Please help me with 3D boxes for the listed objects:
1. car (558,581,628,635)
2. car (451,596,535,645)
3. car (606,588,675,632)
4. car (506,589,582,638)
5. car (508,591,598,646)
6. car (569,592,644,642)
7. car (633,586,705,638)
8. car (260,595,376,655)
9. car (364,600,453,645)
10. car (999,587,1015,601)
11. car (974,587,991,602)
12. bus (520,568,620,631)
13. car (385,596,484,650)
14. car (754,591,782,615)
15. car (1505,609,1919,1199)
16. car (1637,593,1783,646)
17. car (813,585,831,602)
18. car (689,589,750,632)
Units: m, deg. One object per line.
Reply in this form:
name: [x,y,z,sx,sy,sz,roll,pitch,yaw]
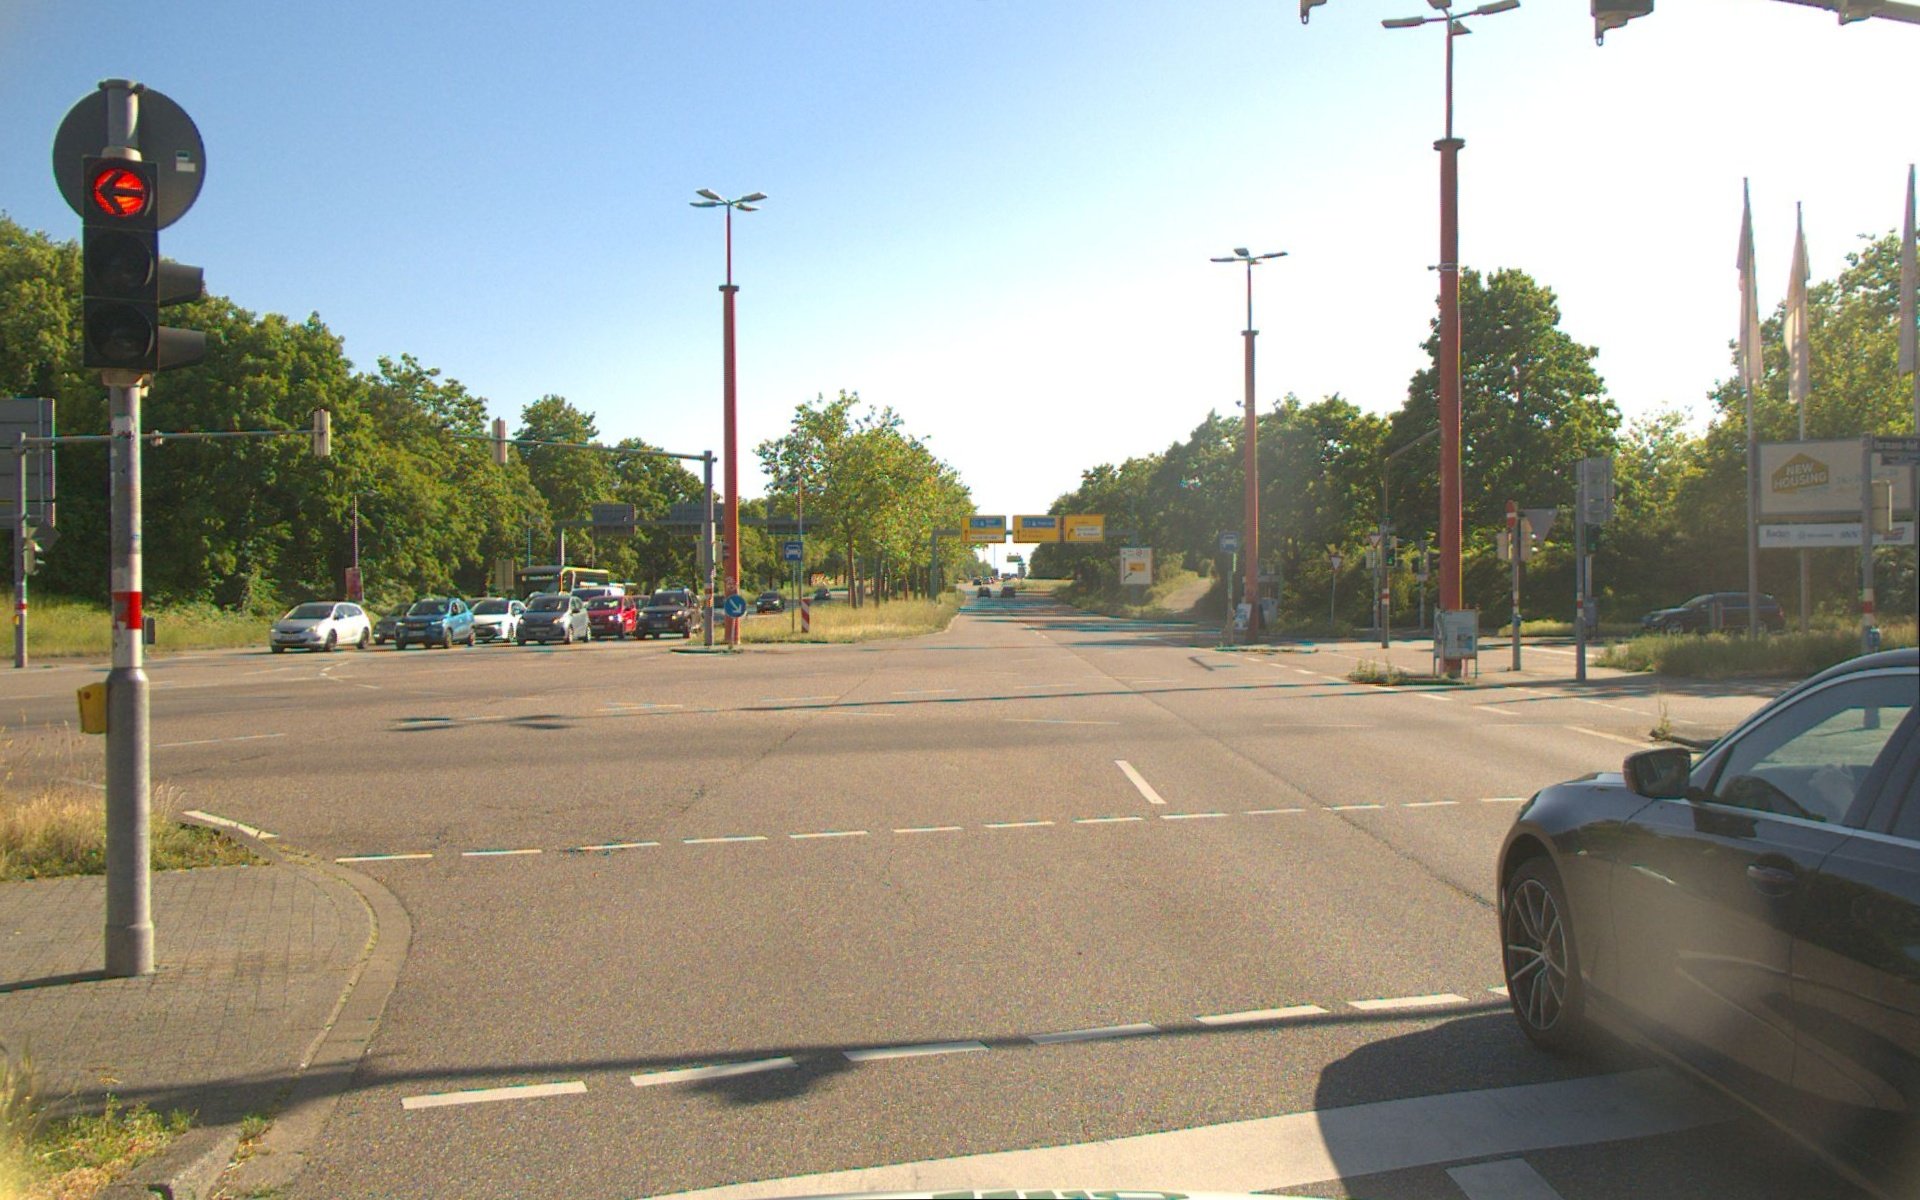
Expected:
car: [-15.623,0.335,70.584,1.922,2.193,5.080,-1,0,-1]
car: [-16.035,0.667,57.025,1.863,1.582,3.998,-1,0,-2]
car: [-12.408,0.371,64.428,1.862,1.658,4.000,0,0,1]
car: [-15.925,0.500,63.519,1.835,1.815,4.000,-1,0,1]
car: [-12.772,0.556,52.085,1.836,1.577,4.027,-2,1,-1]
car: [-12.449,0.587,58.428,1.838,1.579,3.998,-3,0,-2]
car: [-9.841,0.389,56.208,1.757,1.654,4.142,-2,0,-2]
car: [-19.545,0.742,50.538,1.838,1.681,4.219,-1,0,0]
car: [-19.891,0.779,59.791,1.846,1.539,4.000,-1,0,0]
car: [6.063,-0.731,214.196,1.953,1.764,3.999,1,0,-1]
car: [2.821,-0.694,208.531,1.953,1.764,3.999,1,0,-1]
bus: [-22.100,-0.014,94.530,2.591,3.318,12.535,1,0,0]
car: [-16.107,0.687,50.873,1.764,1.542,3.858,-2,0,0]
car: [-15.229,0.234,131.189,1.800,1.869,3.960,-1,0,-1]
car: [2.893,0.773,3.925,1.728,1.466,4.294,1,0,-1]
car: [24.945,0.634,55.150,4.193,1.664,1.771,1,0,14]
car: [-17.324,-0.830,207.894,1.881,2.034,4.602,-1,0,-1]
car: [-9.458,0.399,65.396,1.847,1.570,3.999,-2,0,-1]
